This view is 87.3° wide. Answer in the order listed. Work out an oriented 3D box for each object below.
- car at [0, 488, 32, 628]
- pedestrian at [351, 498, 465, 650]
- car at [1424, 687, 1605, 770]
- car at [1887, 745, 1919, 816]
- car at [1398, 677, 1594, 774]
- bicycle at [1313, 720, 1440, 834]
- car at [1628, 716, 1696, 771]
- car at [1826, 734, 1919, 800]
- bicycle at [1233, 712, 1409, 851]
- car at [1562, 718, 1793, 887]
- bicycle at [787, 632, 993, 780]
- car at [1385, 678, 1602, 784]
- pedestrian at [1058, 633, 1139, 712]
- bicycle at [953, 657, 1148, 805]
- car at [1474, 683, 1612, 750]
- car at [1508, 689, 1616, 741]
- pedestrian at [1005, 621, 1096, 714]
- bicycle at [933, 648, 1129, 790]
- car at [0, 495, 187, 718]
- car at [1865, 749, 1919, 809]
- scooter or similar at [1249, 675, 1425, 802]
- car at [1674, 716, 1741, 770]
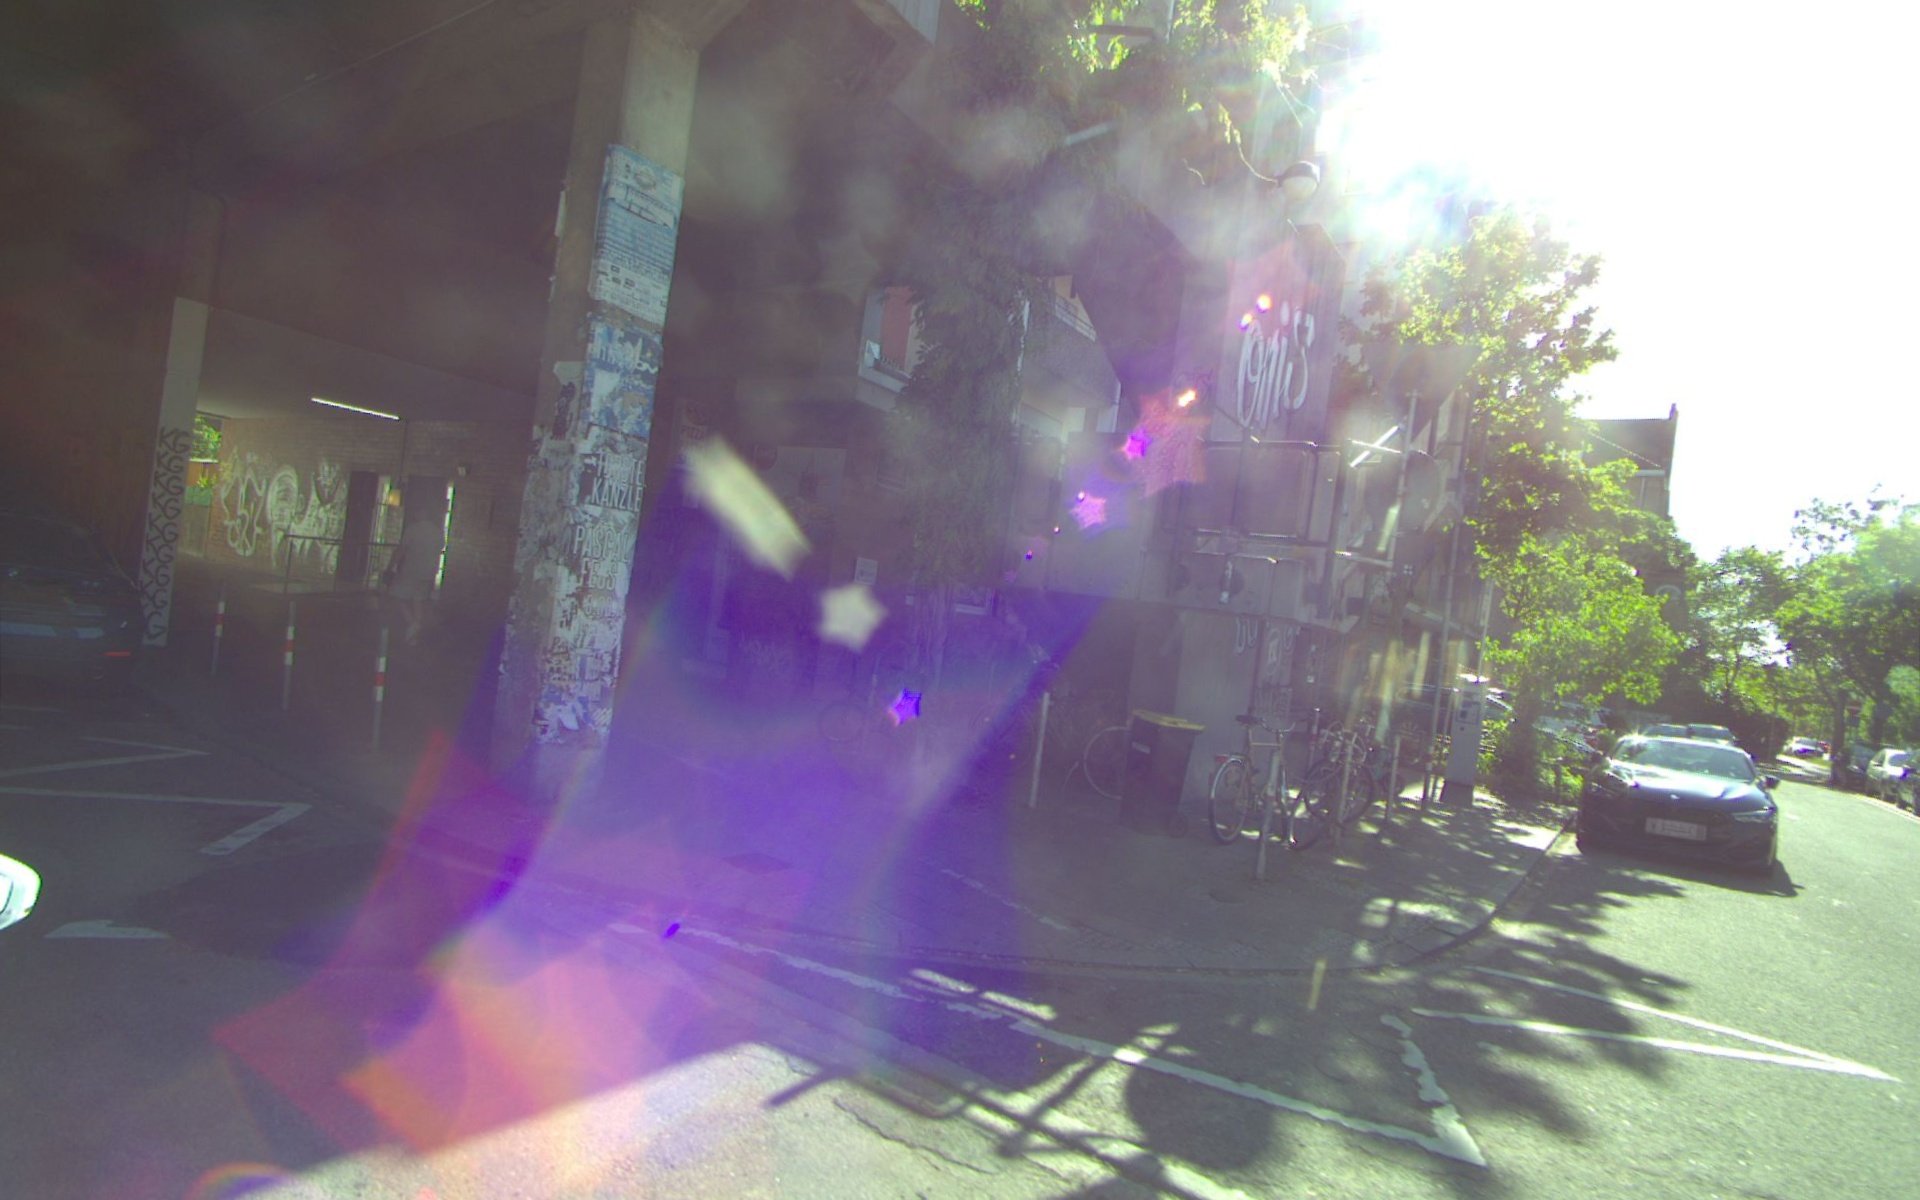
[{"bbox_3d":[-11.909,-0.700,10.942,3.999,1.427,1.763,7,-1,35],"label":"car"},{"bbox_3d":[-6.866,-0.314,12.519,0.745,1.720,0.794,11,2,34],"label":"pedestrian"},{"bbox_3d":[14.574,3.330,26.528,3.934,1.442,1.684,7,-1,32],"label":"car"},{"bbox_3d":[24.301,4.532,24.592,1.729,1.571,3.990,7,-1,35],"label":"car"},{"bbox_3d":[13.014,2.993,24.508,3.934,1.627,1.838,7,-1,32],"label":"car"},{"bbox_3d":[4.304,1.795,10.316,0.410,1.013,1.792,12,3,45],"label":"bicycle"},{"bbox_3d":[24.059,4.863,34.508,1.665,1.487,3.990,8,-1,35],"label":"car"},{"bbox_3d":[29.990,5.405,33.041,1.740,1.666,3.990,7,-1,35],"label":"car"},{"bbox_3d":[3.180,1.582,8.772,1.788,1.044,0.410,9,2,-39],"label":"bicycle"},{"bbox_3d":[8.913,2.331,12.501,1.868,1.414,4.515,7,-2,37],"label":"car"},{"bbox_3d":[-0.657,0.925,9.101,1.770,1.014,0.484,8,1,28],"label":"bicycle"},{"bbox_3d":[11.706,2.808,22.183,3.934,1.569,1.767,7,-1,32],"label":"car"},{"bbox_3d":[2.333,1.216,16.903,0.974,1.174,0.794,8,0,32],"label":"pedestrian"},{"bbox_3d":[0.820,1.159,9.118,1.587,1.014,0.415,9,2,13],"label":"bicycle"},{"bbox_3d":[20.312,4.016,35.140,3.934,1.649,1.684,7,0,32],"label":"car"},{"bbox_3d":[27.118,5.158,45.394,3.934,1.649,1.684,7,0,32],"label":"car"},{"bbox_3d":[1.378,1.023,15.276,0.974,1.251,0.794,8,0,32],"label":"pedestrian"},{"bbox_3d":[0.667,1.126,9.825,1.771,1.014,0.414,10,2,28],"label":"bicycle"},{"bbox_3d":[-8.183,-0.178,8.128,4.537,1.449,1.853,7,-3,38],"label":"car"},{"bbox_3d":[27.423,5.179,28.695,1.732,1.414,3.990,7,-1,35],"label":"car"},{"bbox_3d":[4.915,1.772,13.179,1.940,1.293,0.630,7,1,31],"label":"scooter or similar"},{"bbox_3d":[28.479,5.396,38.415,1.740,1.666,3.990,7,-1,35],"label":"car"}]
